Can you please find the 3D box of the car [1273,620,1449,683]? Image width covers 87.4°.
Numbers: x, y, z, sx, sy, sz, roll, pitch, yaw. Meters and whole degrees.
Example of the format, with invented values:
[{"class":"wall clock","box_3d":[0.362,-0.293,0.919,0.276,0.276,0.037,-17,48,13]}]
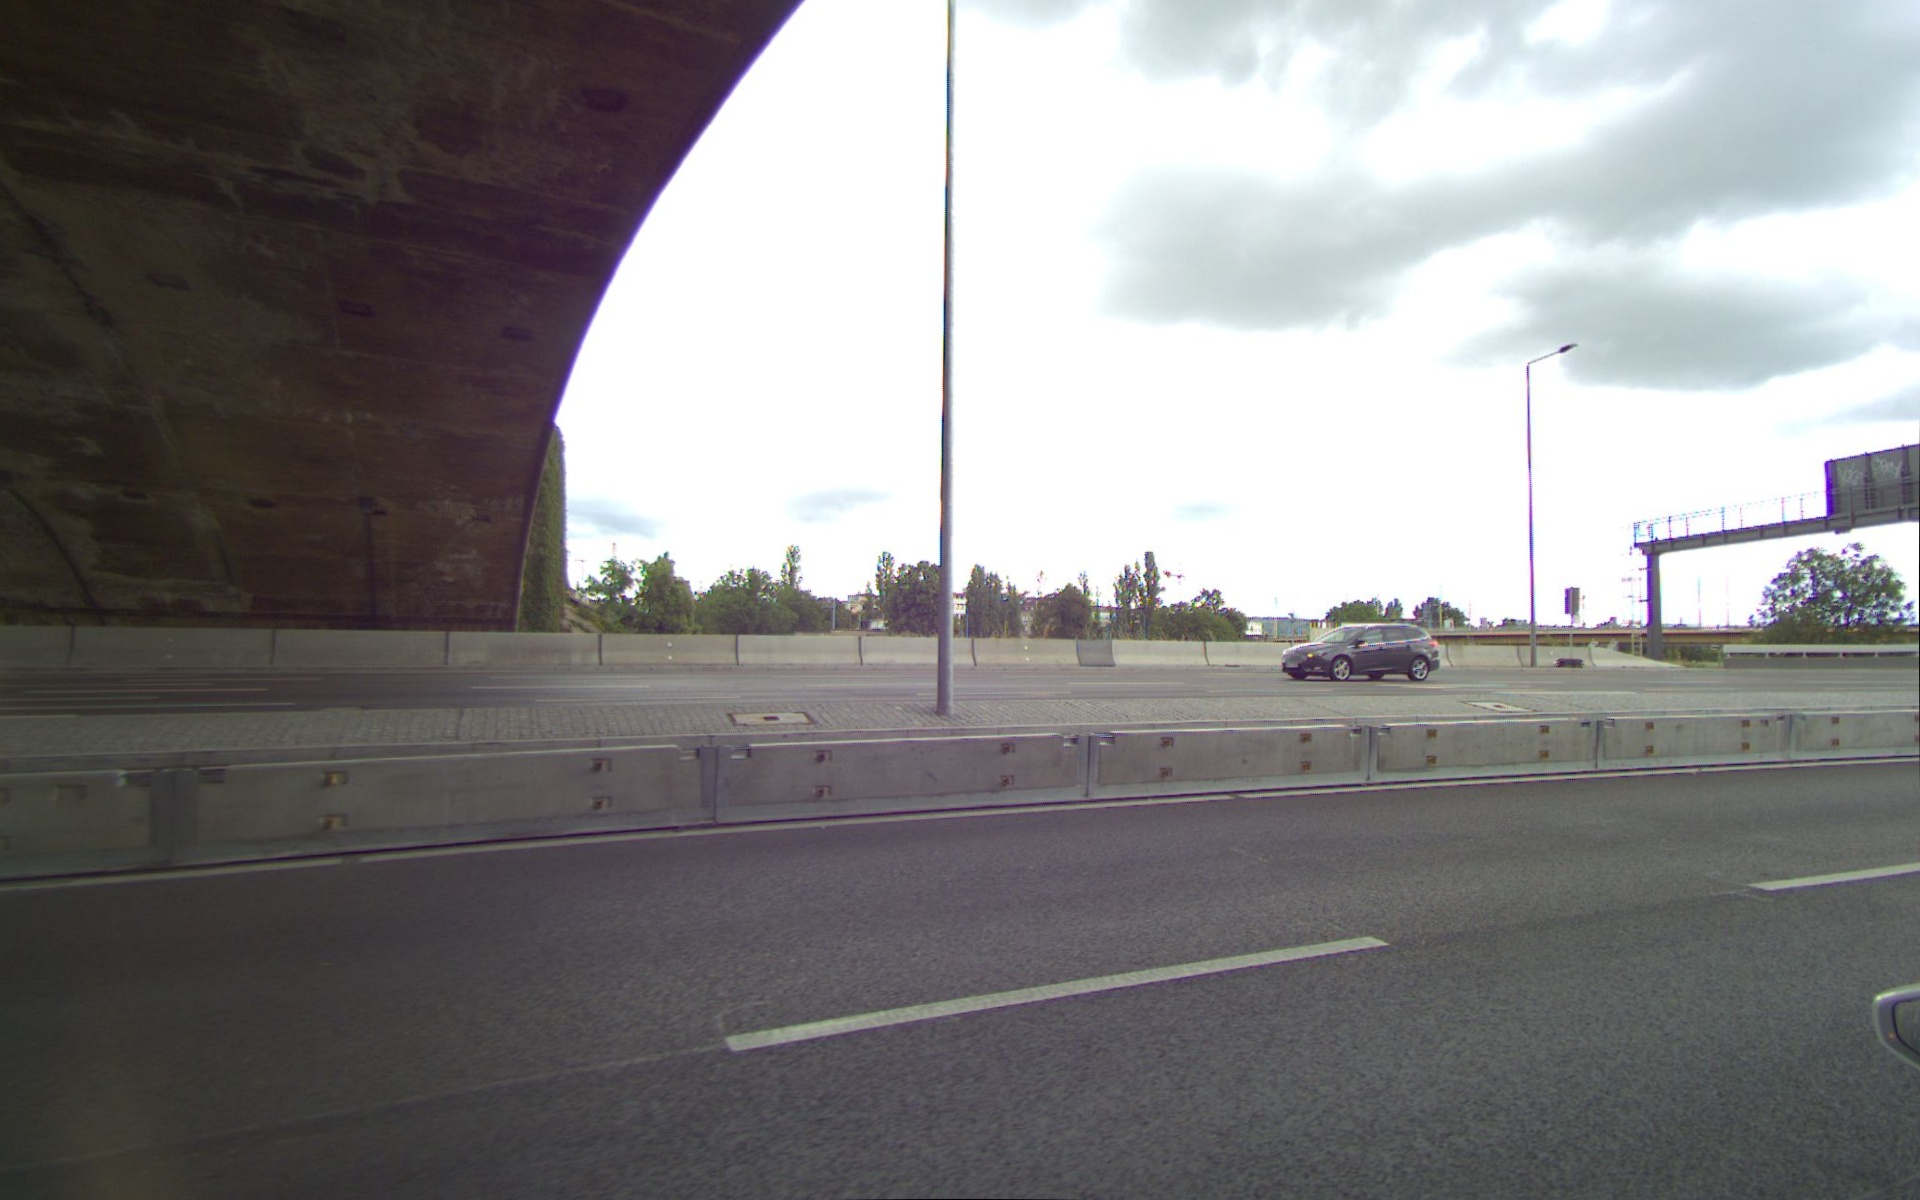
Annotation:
[{"class":"car","box_3d":[10.641,1.348,26.632,4.339,1.557,1.813,2,-1,-24]}]
